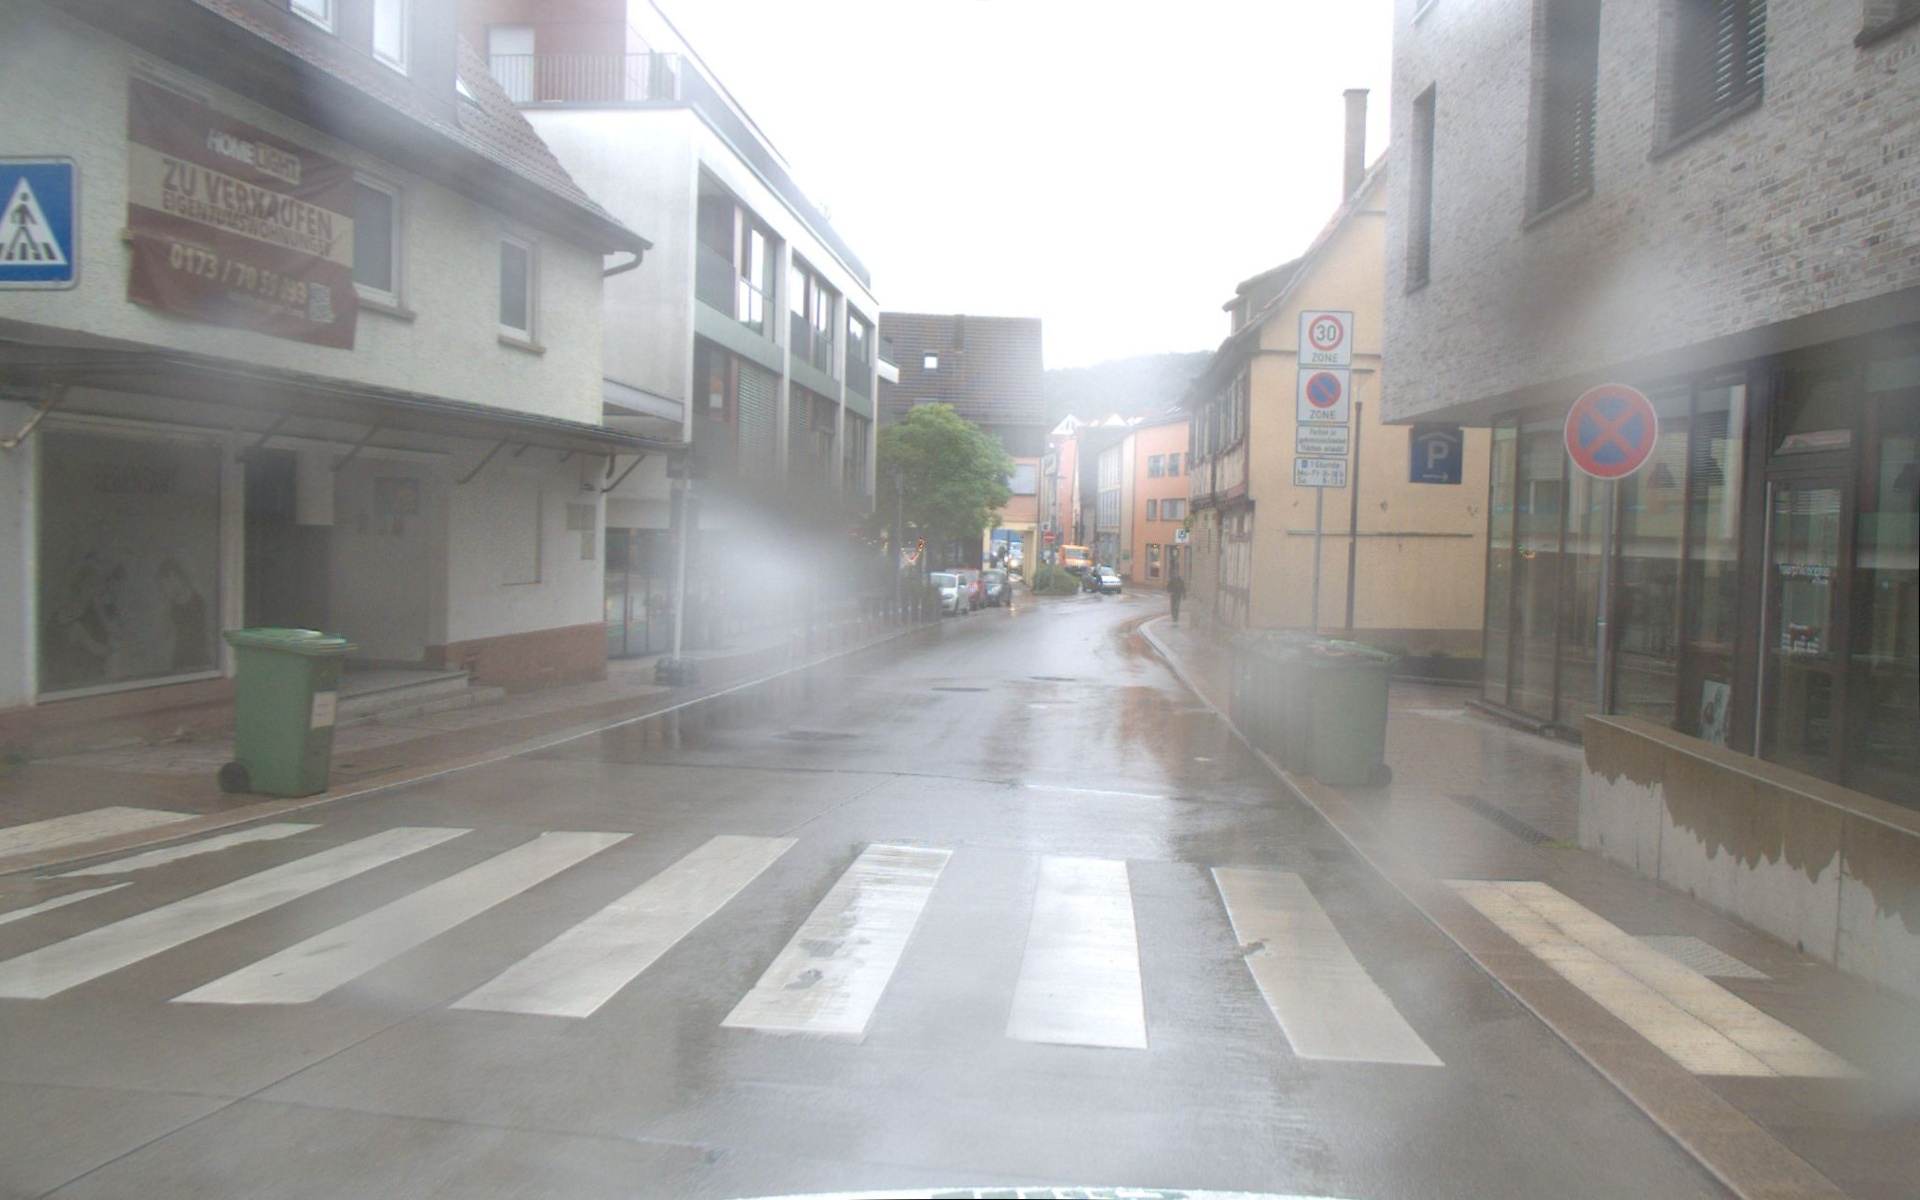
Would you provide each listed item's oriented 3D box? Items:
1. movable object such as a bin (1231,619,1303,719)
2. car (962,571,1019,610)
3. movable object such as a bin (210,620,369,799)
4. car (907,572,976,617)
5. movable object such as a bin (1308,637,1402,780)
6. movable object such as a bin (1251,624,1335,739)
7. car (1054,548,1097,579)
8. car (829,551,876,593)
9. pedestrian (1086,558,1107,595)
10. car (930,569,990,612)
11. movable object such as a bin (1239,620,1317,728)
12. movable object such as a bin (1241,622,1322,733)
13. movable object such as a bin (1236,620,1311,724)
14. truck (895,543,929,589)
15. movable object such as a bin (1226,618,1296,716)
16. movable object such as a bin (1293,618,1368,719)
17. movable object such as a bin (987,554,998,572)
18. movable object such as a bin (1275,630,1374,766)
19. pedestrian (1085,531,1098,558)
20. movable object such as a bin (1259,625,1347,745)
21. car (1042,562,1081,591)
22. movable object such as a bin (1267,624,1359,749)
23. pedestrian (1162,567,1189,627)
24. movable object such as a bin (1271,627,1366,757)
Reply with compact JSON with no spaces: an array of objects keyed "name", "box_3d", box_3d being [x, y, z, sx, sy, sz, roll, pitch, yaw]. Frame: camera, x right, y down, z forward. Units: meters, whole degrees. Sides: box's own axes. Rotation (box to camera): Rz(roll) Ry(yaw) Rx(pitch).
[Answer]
[{"name":"movable object such as a bin","box_3d":[3.515,0.782,18.971,0.749,1.114,0.581,0,1,4]},{"name":"car","box_3d":[1.318,-0.425,69.834,1.678,1.483,3.914,3,2,11]},{"name":"movable object such as a bin","box_3d":[-4.479,0.714,11.097,0.673,1.100,0.761,4,0,2]},{"name":"car","box_3d":[-0.619,-0.245,59.331,1.748,1.525,4.459,1,1,8]},{"name":"movable object such as a bin","box_3d":[3.215,0.874,13.508,0.649,1.114,0.551,0,1,2]},{"name":"movable object such as a bin","box_3d":[3.330,0.807,16.560,0.749,1.114,0.581,0,1,4]},{"name":"car","box_3d":[8.212,-2.630,118.303,2.065,2.183,4.858,-1,1,-9]},{"name":"car","box_3d":[-5.474,-1.441,84.810,1.774,1.644,4.007,2,8,5]},{"name":"pedestrian","box_3d":[7.364,-1.253,88.997,0.845,1.948,0.757,2,1,28]},{"name":"car","box_3d":[0.025,-0.395,64.952,1.748,1.603,4.111,1,1,8]},{"name":"movable object such as a bin","box_3d":[3.411,0.785,17.761,0.749,1.114,0.581,0,1,4]},{"name":"movable object such as a bin","box_3d":[3.331,0.791,17.171,0.749,1.114,0.581,0,1,4]},{"name":"movable object such as a bin","box_3d":[3.478,0.786,18.379,0.749,1.114,0.581,0,1,4]},{"name":"truck","box_3d":[-2.465,-1.770,85.696,1.564,2.097,3.196,0,6,1]},{"name":"movable object such as a bin","box_3d":[3.553,0.785,19.570,0.749,1.114,0.581,0,1,4]},{"name":"movable object such as a bin","box_3d":[4.239,0.776,18.951,0.749,1.114,0.627,0,1,4]},{"name":"movable object such as a bin","box_3d":[2.706,-3.067,136.775,0.818,1.406,0.853,1,2,-6]},{"name":"movable object such as a bin","box_3d":[3.104,0.824,14.135,0.724,1.114,0.657,0,1,3]},{"name":"pedestrian","box_3d":[10.360,-4.371,130.191,0.849,2.048,0.707,1,2,-4]},{"name":"movable object such as a bin","box_3d":[3.304,0.810,15.960,0.749,1.114,0.581,0,1,4]},{"name":"car","box_3d":[5.715,-1.321,93.091,1.680,1.483,3.908,2,2,-4]},{"name":"movable object such as a bin","box_3d":[3.272,0.795,15.373,0.749,1.114,0.581,0,1,4]},{"name":"pedestrian","box_3d":[6.993,-0.106,53.748,0.793,1.918,0.908,0,1,2]},{"name":"movable object such as a bin","box_3d":[3.193,0.810,14.773,0.749,1.114,0.581,0,1,4]}]
